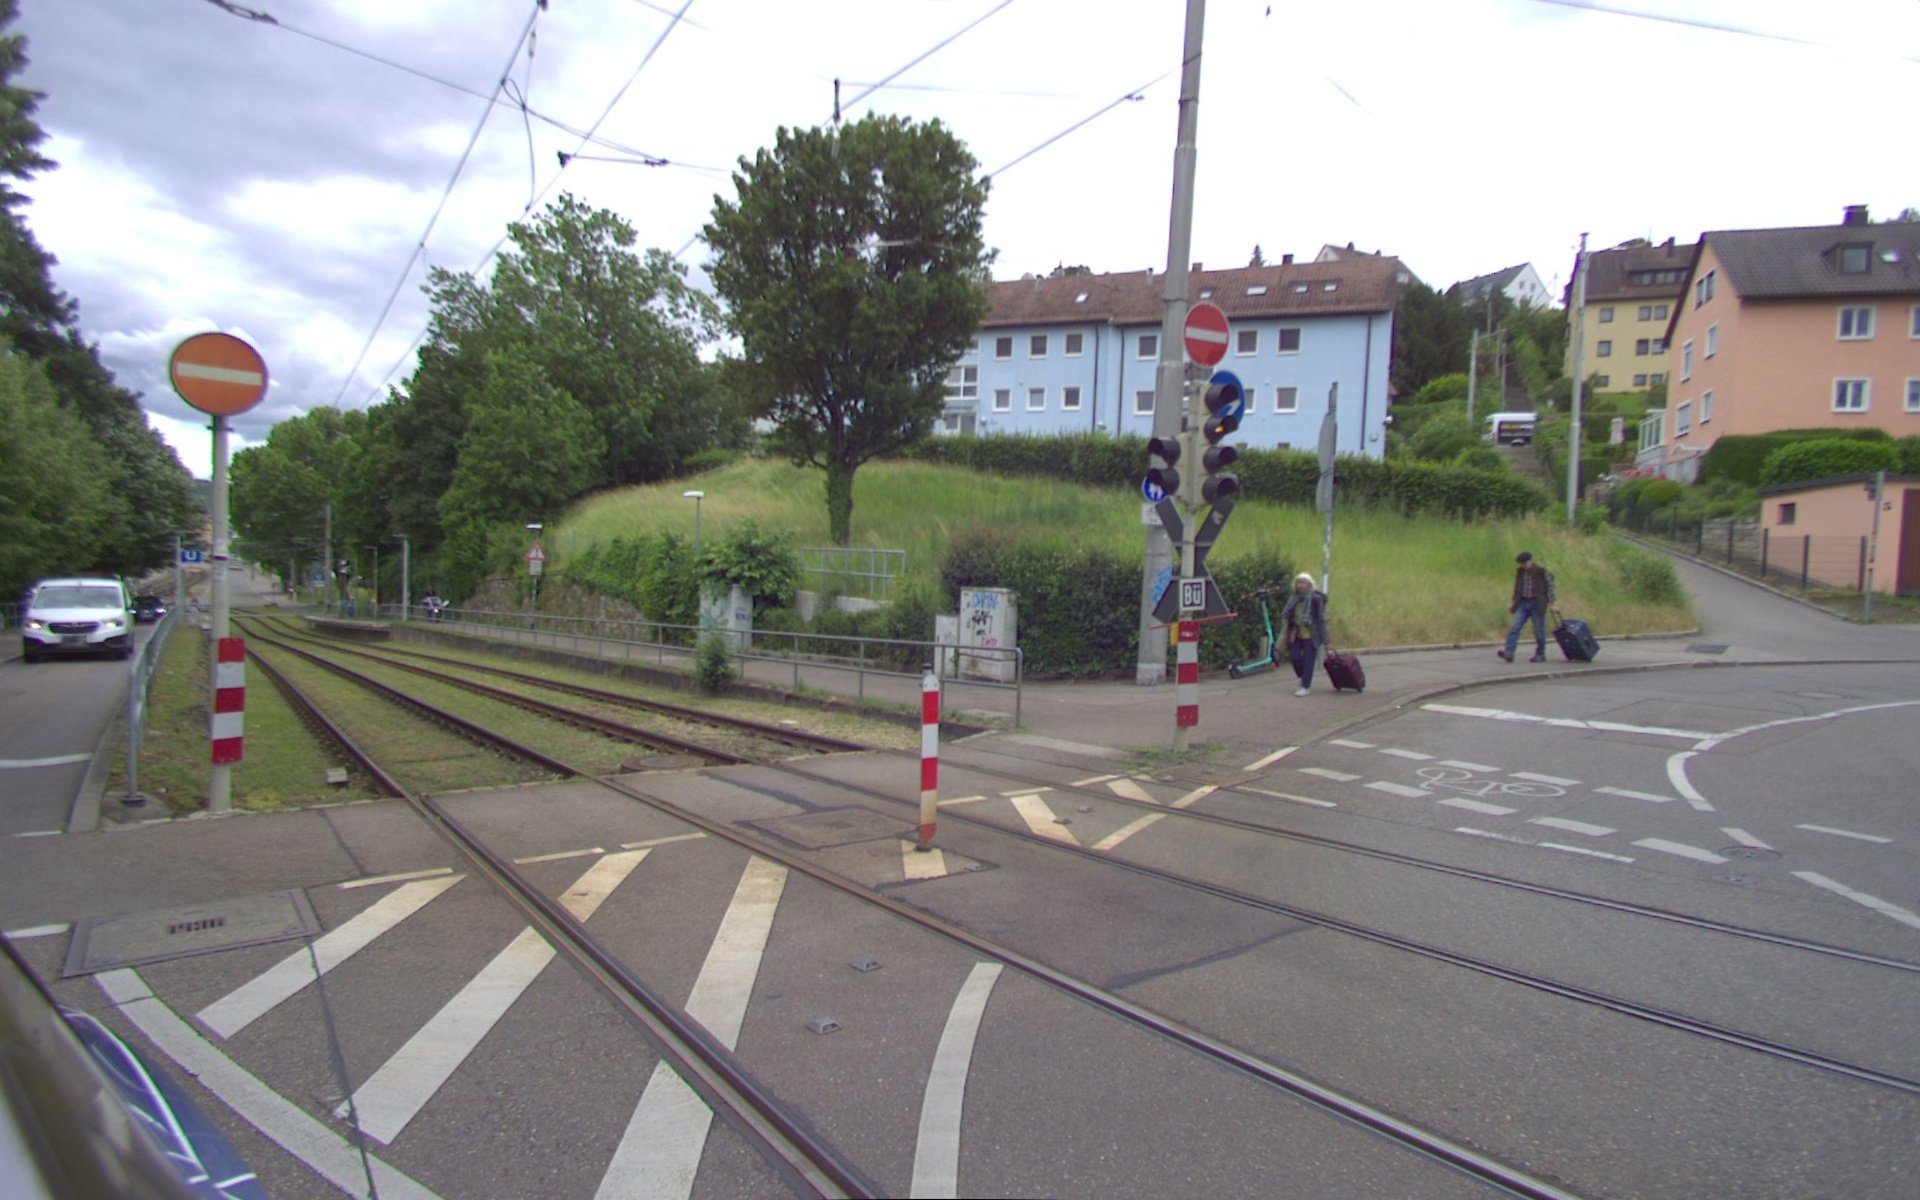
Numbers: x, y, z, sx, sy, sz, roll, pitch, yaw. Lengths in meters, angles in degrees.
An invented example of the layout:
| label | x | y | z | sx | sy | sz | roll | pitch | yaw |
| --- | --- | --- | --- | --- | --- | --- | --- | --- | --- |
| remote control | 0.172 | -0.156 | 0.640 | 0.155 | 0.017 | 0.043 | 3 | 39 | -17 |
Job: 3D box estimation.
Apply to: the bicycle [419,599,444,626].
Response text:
| label | x | y | z | sx | sy | sz | roll | pitch | yaw |
| --- | --- | --- | --- | --- | --- | --- | --- | --- | --- |
| bicycle | -25.895 | 0.607 | 49.553 | 0.740 | 1.249 | 2.874 | -1 | 0 | -33 |

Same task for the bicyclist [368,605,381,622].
| label | x | y | z | sx | sy | sz | roll | pitch | yaw |
| --- | --- | --- | --- | --- | --- | --- | --- | --- | --- |
| bicyclist | -37.789 | 0.886 | 65.326 | 0.680 | 1.061 | 0.746 | 0 | -1 | -37 |

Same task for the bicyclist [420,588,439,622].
| label | x | y | z | sx | sy | sz | roll | pitch | yaw |
| --- | --- | --- | --- | --- | --- | --- | --- | --- | --- |
| bicyclist | -26.272 | 0.240 | 50.128 | 0.695 | 1.641 | 1.035 | -1 | 0 | -34 |

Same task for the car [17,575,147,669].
| label | x | y | z | sx | sy | sz | roll | pitch | yaw |
| --- | --- | --- | --- | --- | --- | --- | --- | --- | --- |
| car | -19.994 | 0.428 | 23.223 | 1.781 | 1.936 | 4.490 | 0 | 1 | -35 |

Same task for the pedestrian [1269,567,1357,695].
| label | x | y | z | sx | sy | sz | roll | pitch | yaw |
| --- | --- | --- | --- | --- | --- | --- | --- | --- | --- |
| pedestrian | 4.531 | 0.379 | 13.011 | 0.740 | 1.586 | 0.759 | 0 | 0 | -24 |

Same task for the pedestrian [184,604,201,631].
| label | x | y | z | sx | sy | sz | roll | pitch | yaw |
| --- | --- | --- | --- | --- | --- | --- | --- | --- | --- |
| pedestrian | -43.344 | 0.998 | 57.145 | 0.727 | 1.514 | 0.628 | 0 | -1 | -36 |

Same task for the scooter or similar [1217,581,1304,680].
| label | x | y | z | sx | sy | sz | roll | pitch | yaw |
| --- | --- | --- | --- | --- | --- | --- | --- | --- | --- |
| scooter or similar | 4.365 | 0.413 | 14.673 | 1.390 | 1.298 | 0.419 | -5 | 3 | -37 |

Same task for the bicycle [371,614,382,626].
| label | x | y | z | sx | sy | sz | roll | pitch | yaw |
| --- | --- | --- | --- | --- | --- | --- | --- | --- | --- |
| bicycle | -37.696 | 1.286 | 65.341 | 0.444 | 0.787 | 1.568 | 0 | -1 | -37 |

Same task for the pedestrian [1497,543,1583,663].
| label | x | y | z | sx | sy | sz | roll | pitch | yaw |
| --- | --- | --- | --- | --- | --- | --- | --- | --- | --- |
| pedestrian | 8.838 | 0.042 | 15.425 | 0.886 | 1.763 | 0.745 | 0 | 0 | -24 |
